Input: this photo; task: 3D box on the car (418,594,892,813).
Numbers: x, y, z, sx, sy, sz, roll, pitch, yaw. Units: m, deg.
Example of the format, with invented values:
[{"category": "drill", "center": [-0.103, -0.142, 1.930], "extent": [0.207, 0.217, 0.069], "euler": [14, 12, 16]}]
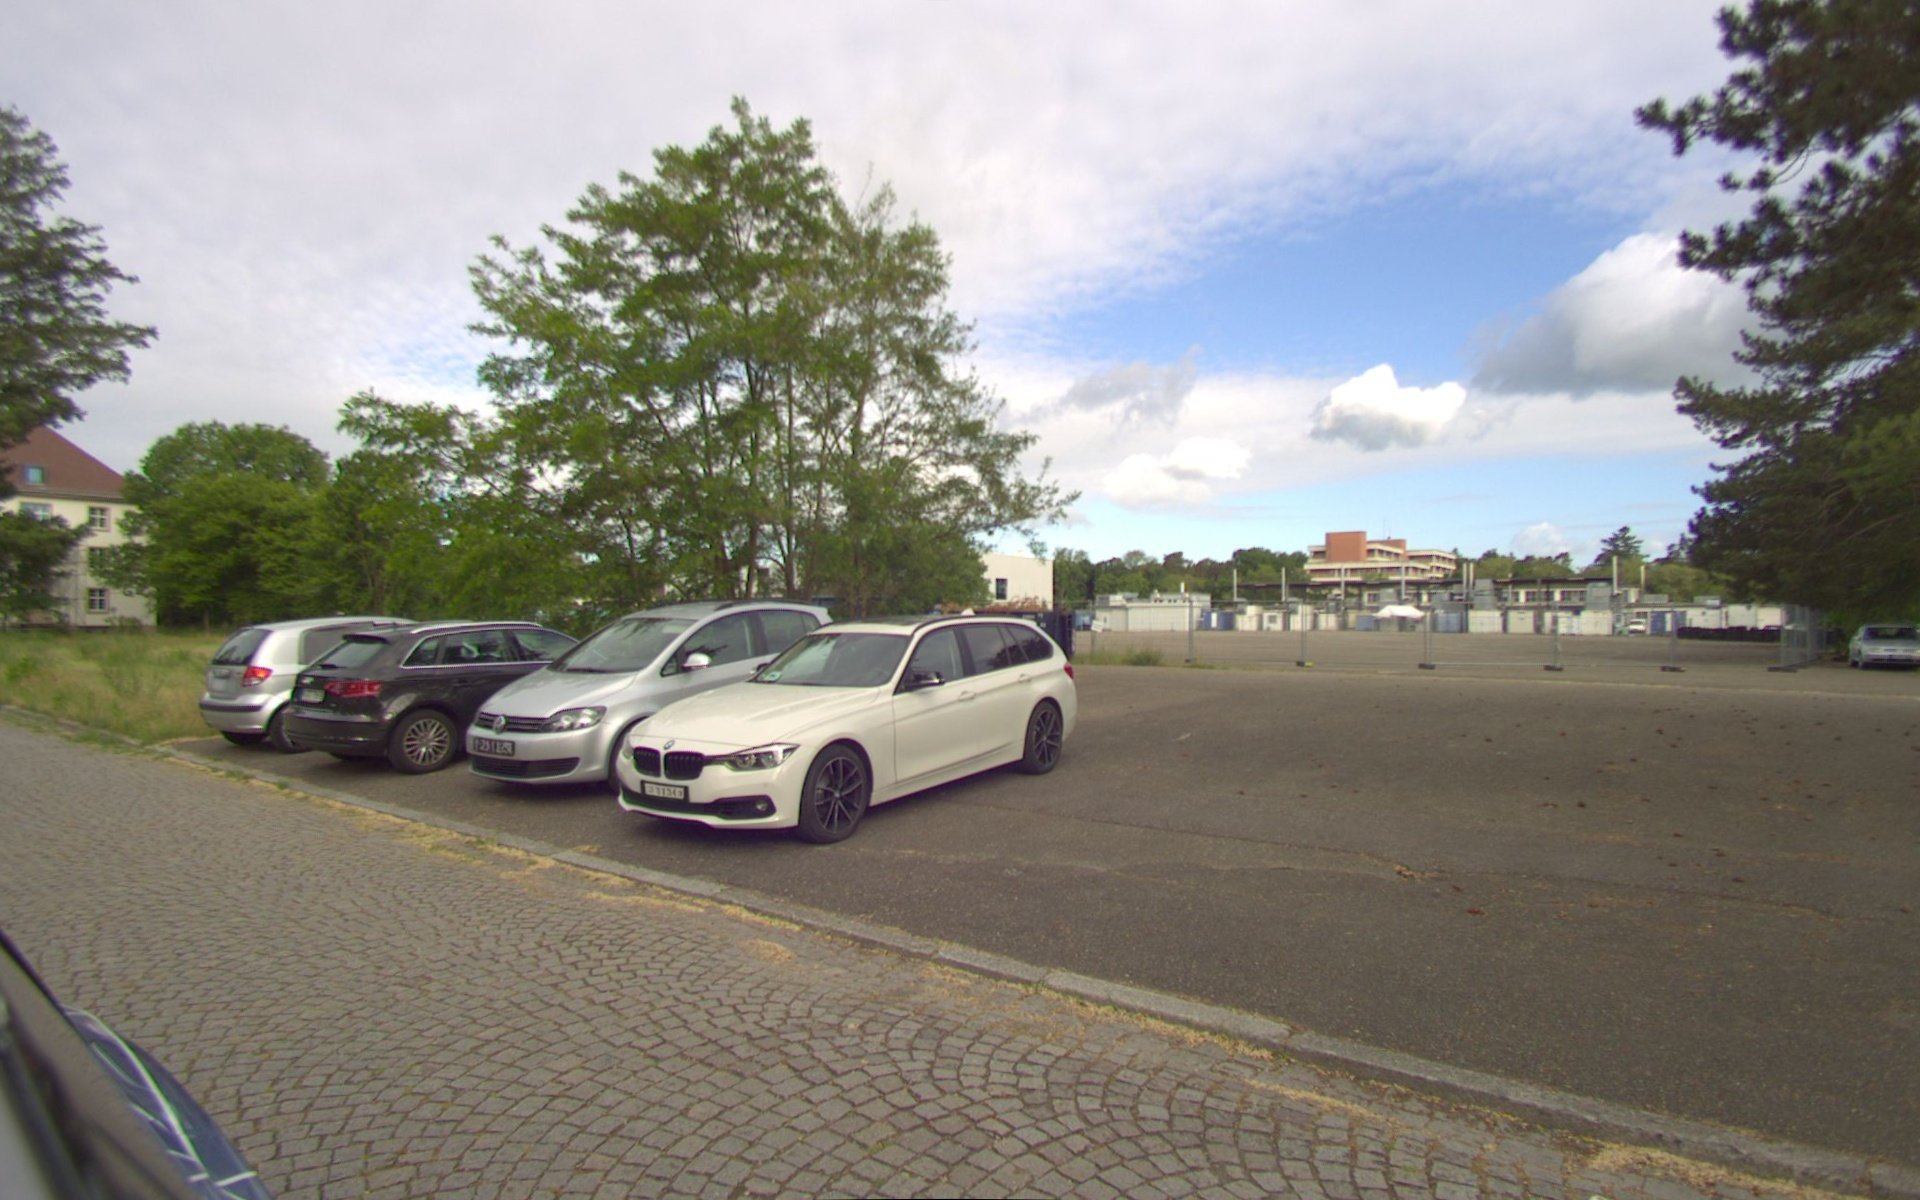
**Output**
[{"category": "car", "center": [-2.690, 0.783, 9.980], "extent": [1.866, 1.610, 4.330], "euler": [-1, 0, 32]}]

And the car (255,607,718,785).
[{"category": "car", "center": [-4.995, 0.879, 11.306], "extent": [1.718, 1.435, 4.396], "euler": [-1, 1, 35]}]

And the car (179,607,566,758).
[{"category": "car", "center": [-7.212, 0.895, 12.804], "extent": [1.581, 1.481, 3.916], "euler": [-1, 1, 34]}]

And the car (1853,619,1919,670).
[{"category": "car", "center": [29.444, 1.360, 31.762], "extent": [1.732, 1.443, 4.111], "euler": [-1, 0, 36]}]

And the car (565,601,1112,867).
[{"category": "car", "center": [-0.646, 0.823, 8.456], "extent": [1.863, 1.499, 4.698], "euler": [-2, 0, 35]}]

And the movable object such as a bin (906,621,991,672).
[{"category": "movable object such as a bin", "center": [-0.249, 1.080, 23.957], "extent": [0.857, 1.134, 2.241], "euler": [-1, -2, 36]}]
